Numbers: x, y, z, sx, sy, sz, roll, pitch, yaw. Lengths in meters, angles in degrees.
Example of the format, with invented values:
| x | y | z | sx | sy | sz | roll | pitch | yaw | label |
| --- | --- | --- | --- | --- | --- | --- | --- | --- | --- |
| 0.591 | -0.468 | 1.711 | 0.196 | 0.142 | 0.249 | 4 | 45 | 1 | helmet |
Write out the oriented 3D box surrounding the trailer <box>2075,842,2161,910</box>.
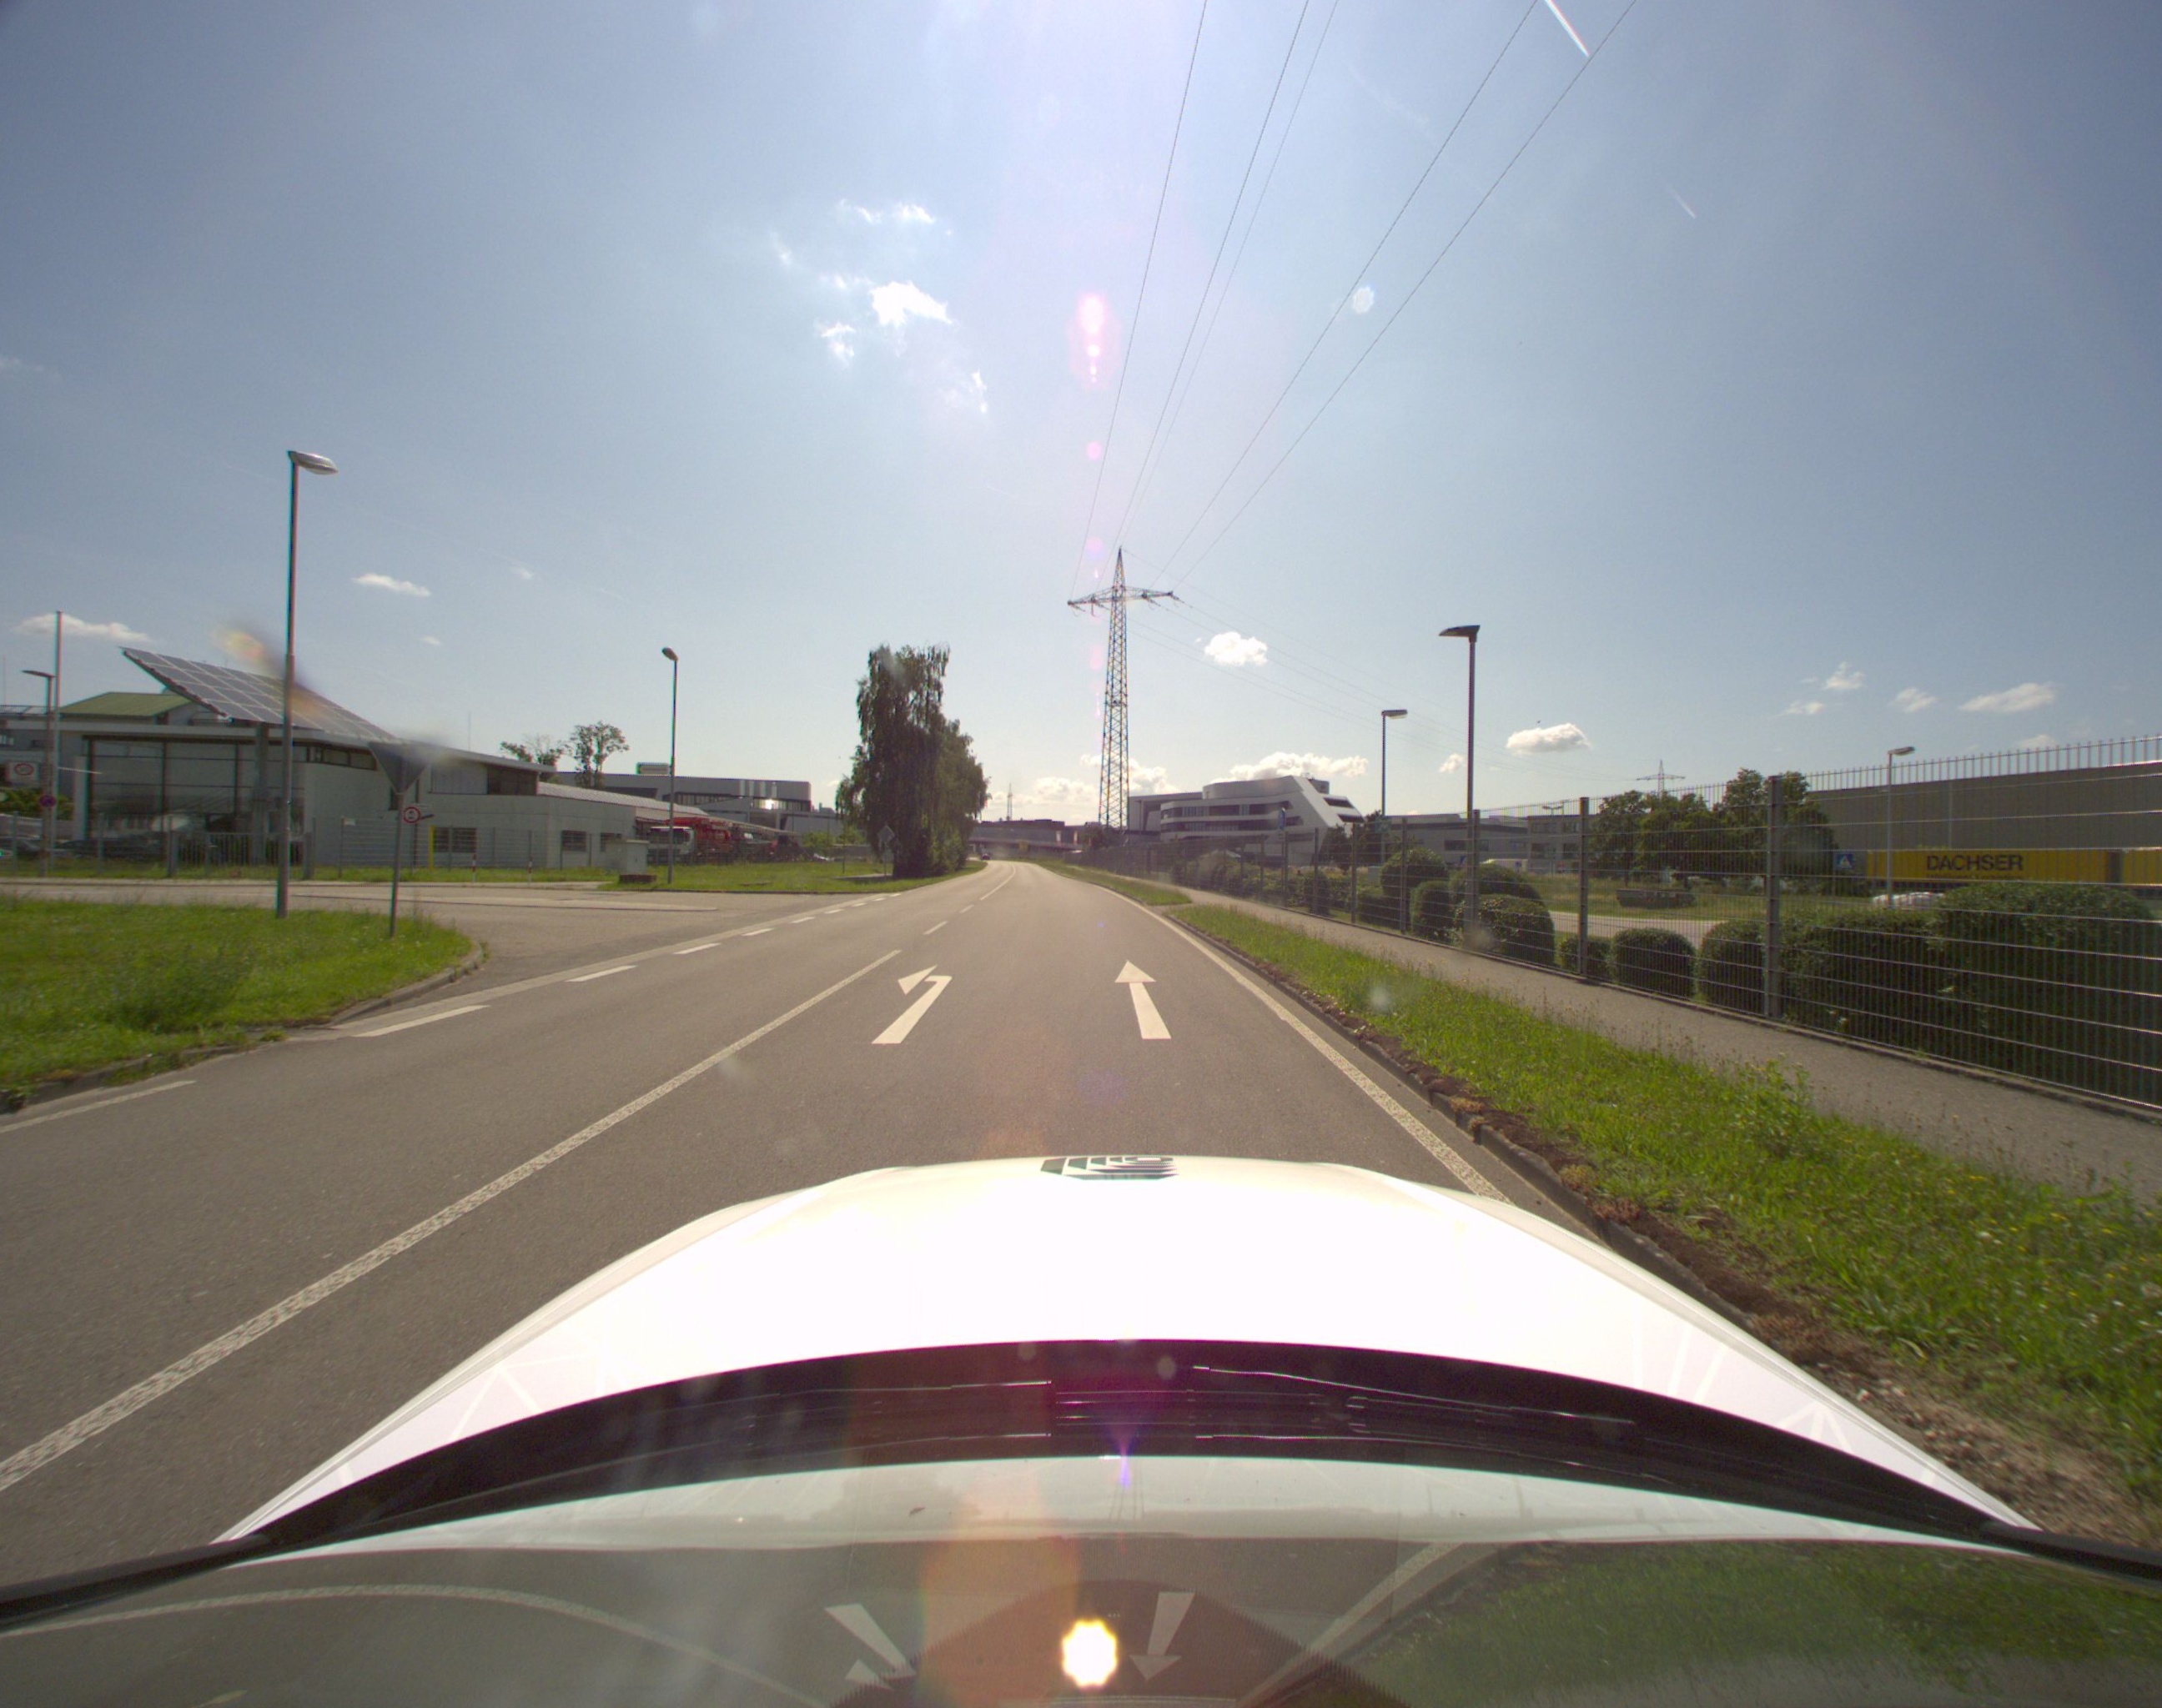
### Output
| x | y | z | sx | sy | sz | roll | pitch | yaw | label |
| --- | --- | --- | --- | --- | --- | --- | --- | --- | --- |
| 62.099 | 1.275 | 41.990 | 2.928 | 3.841 | 15.047 | 2 | 0 | -2 | trailer |

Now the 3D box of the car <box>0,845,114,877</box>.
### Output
| x | y | z | sx | sy | sz | roll | pitch | yaw | label |
| --- | --- | --- | --- | --- | --- | --- | --- | --- | --- |
| -44.879 | 0.305 | 35.106 | 3.979 | 1.244 | 1.801 | 2 | 0 | -4 | car |

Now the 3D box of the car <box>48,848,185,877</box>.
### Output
| x | y | z | sx | sy | sz | roll | pitch | yaw | label |
| --- | --- | --- | --- | --- | --- | --- | --- | --- | --- |
| -45.055 | 0.383 | 38.107 | 3.979 | 1.244 | 1.801 | 2 | 0 | -4 | car |

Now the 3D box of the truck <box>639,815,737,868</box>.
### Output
| x | y | z | sx | sy | sz | roll | pitch | yaw | label |
| --- | --- | --- | --- | --- | --- | --- | --- | --- | --- |
| -28.797 | -0.841 | 60.373 | 2.747 | 3.558 | 10.254 | 1 | 0 | -3 | truck |

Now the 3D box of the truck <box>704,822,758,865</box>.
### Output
| x | y | z | sx | sy | sz | roll | pitch | yaw | label |
| --- | --- | --- | --- | --- | --- | --- | --- | --- | --- |
| -29.952 | -0.844 | 69.827 | 2.430 | 3.452 | 5.435 | 1 | 0 | -4 | truck |

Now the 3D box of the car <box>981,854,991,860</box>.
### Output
| x | y | z | sx | sy | sz | roll | pitch | yaw | label |
| --- | --- | --- | --- | --- | --- | --- | --- | --- | --- |
| -22.200 | 0.669 | 190.873 | 2.012 | 1.508 | 3.986 | 1 | 0 | -10 | car |

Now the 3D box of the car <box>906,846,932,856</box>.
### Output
| x | y | z | sx | sy | sz | roll | pitch | yaw | label |
| --- | --- | --- | --- | --- | --- | --- | --- | --- | --- |
| -26.639 | -0.474 | 134.004 | 3.982 | 1.574 | 1.996 | 1 | 0 | -6 | car |

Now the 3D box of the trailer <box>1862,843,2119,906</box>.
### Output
| x | y | z | sx | sy | sz | roll | pitch | yaw | label |
| --- | --- | --- | --- | --- | --- | --- | --- | --- | --- |
| 61.509 | 1.247 | 55.932 | 2.911 | 3.766 | 12.738 | 2 | 0 | -3 | trailer |

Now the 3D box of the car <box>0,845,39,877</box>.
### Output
| x | y | z | sx | sy | sz | roll | pitch | yaw | label |
| --- | --- | --- | --- | --- | --- | --- | --- | --- | --- |
| -44.970 | 0.228 | 32.574 | 3.979 | 1.244 | 1.801 | 2 | 0 | -4 | car |
